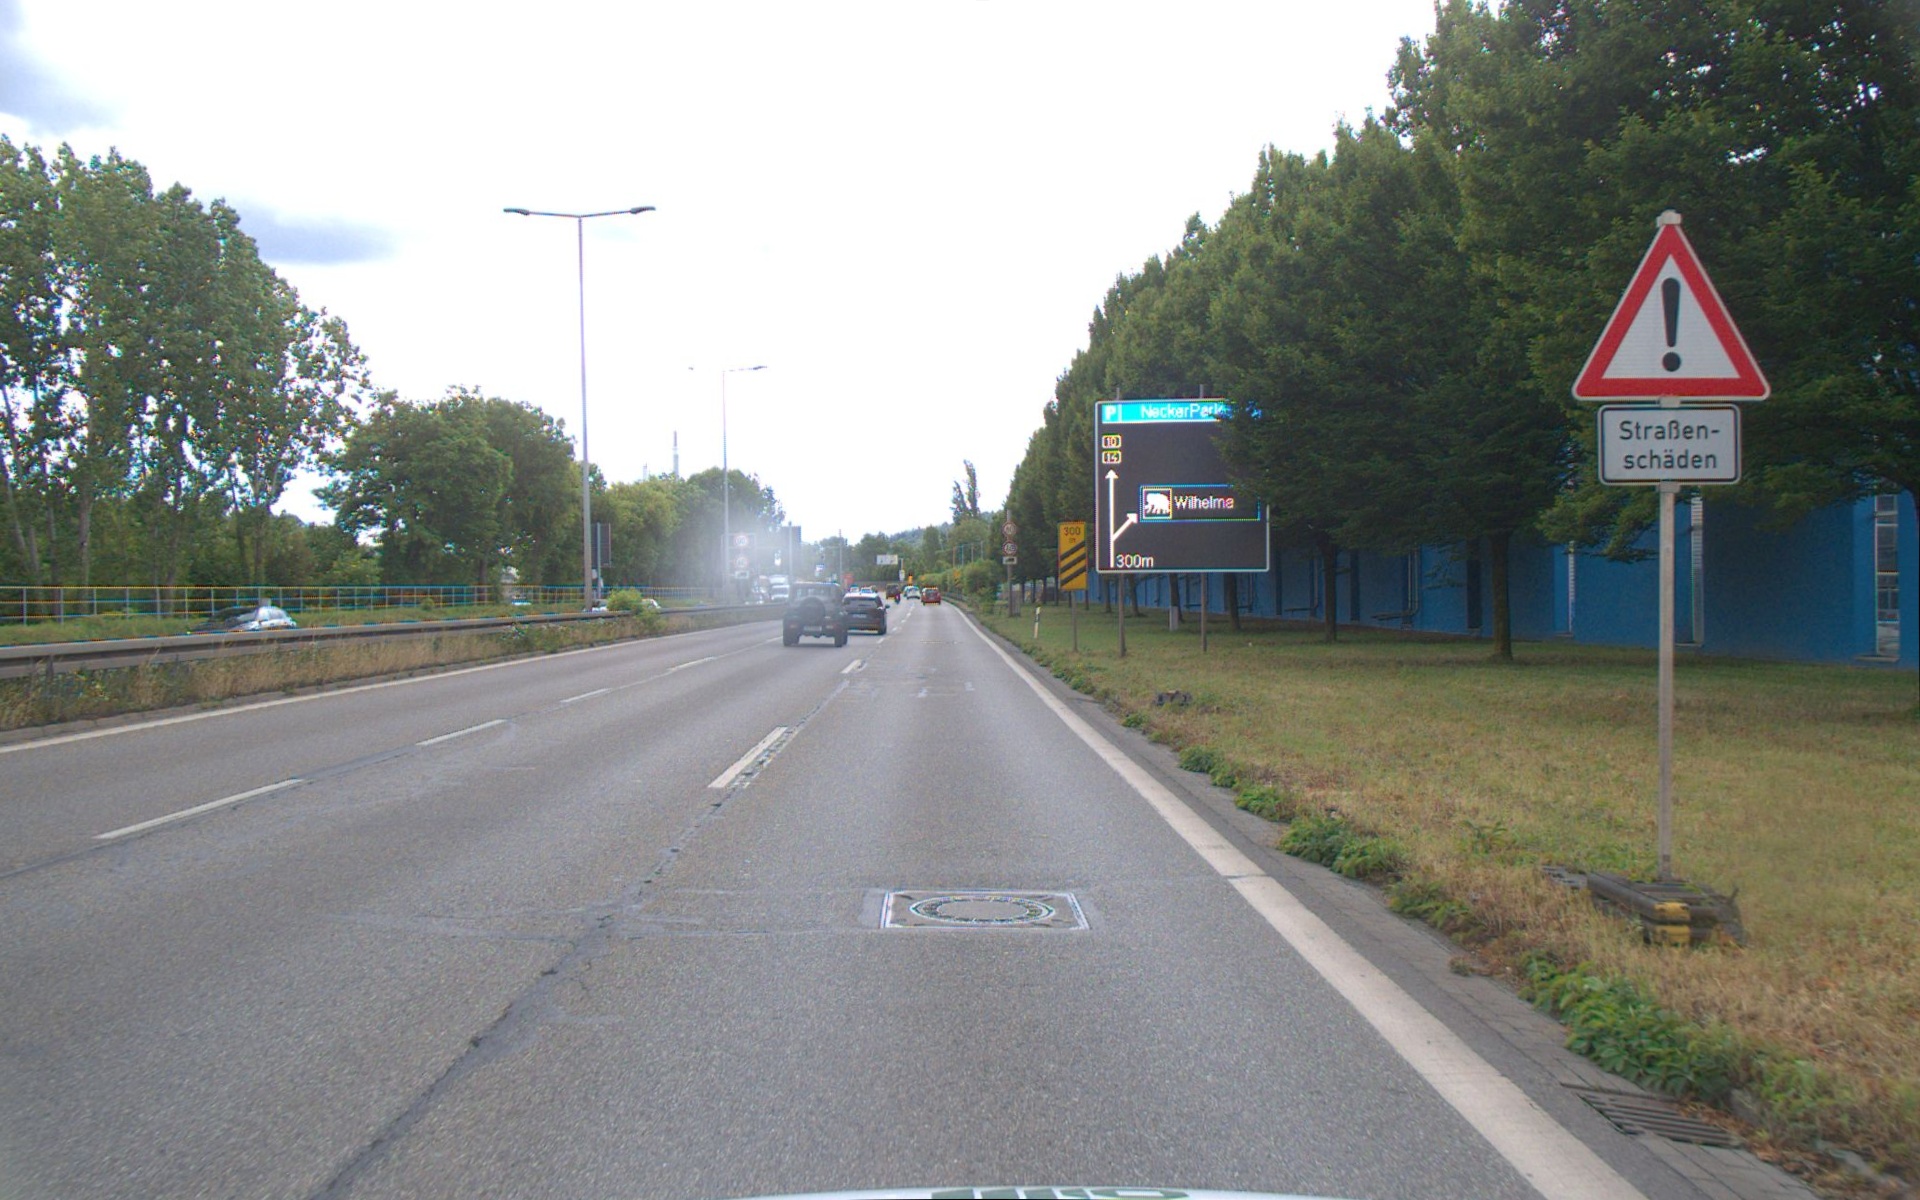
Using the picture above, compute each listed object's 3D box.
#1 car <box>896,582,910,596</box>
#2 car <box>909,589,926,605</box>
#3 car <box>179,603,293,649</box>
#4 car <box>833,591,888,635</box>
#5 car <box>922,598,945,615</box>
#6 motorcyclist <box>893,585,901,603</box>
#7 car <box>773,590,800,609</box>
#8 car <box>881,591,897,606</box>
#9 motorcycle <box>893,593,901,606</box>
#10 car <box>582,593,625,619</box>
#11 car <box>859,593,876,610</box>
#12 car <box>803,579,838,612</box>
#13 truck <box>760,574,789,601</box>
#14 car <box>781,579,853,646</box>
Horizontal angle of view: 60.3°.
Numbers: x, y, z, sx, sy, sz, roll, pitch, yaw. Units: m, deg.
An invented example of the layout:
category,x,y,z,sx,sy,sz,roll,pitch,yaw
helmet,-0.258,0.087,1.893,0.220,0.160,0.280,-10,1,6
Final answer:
category,x,y,z,sx,sy,sz,roll,pitch,yaw
car,-8.372,-1.595,244.602,1.973,1.968,4.898,-2,0,-2
car,-5.328,-0.392,205.591,1.973,1.968,4.898,-2,0,-2
car,-22.755,0.786,52.180,1.626,1.322,4.786,0,1,-2
car,-3.537,0.442,59.680,1.808,1.448,4.898,-2,0,-2
car,-2.436,0.591,151.113,1.935,1.448,4.898,-2,0,-2
motorcyclist,-6.325,-0.642,166.611,0.775,1.791,0.923,0,0,-1
car,-18.764,-0.104,178.714,2.180,1.982,5.475,-1,0,1
car,-9.467,-0.190,220.609,1.973,1.968,4.898,-2,0,-2
motorcycle,-6.322,-0.073,166.519,0.775,1.240,2.329,0,1,-1
car,-22.276,0.359,103.532,1.840,1.516,4.201,0,1,-1
car,-9.675,0.159,172.675,1.664,1.772,4.389,-2,0,-4
car,-7.679,-0.269,91.416,1.663,1.772,3.999,2,0,-2
truck,-26.157,-1.738,233.702,2.829,3.641,9.589,-1,0,1
car,-3.897,0.309,45.571,1.663,1.715,3.999,2,0,-1
